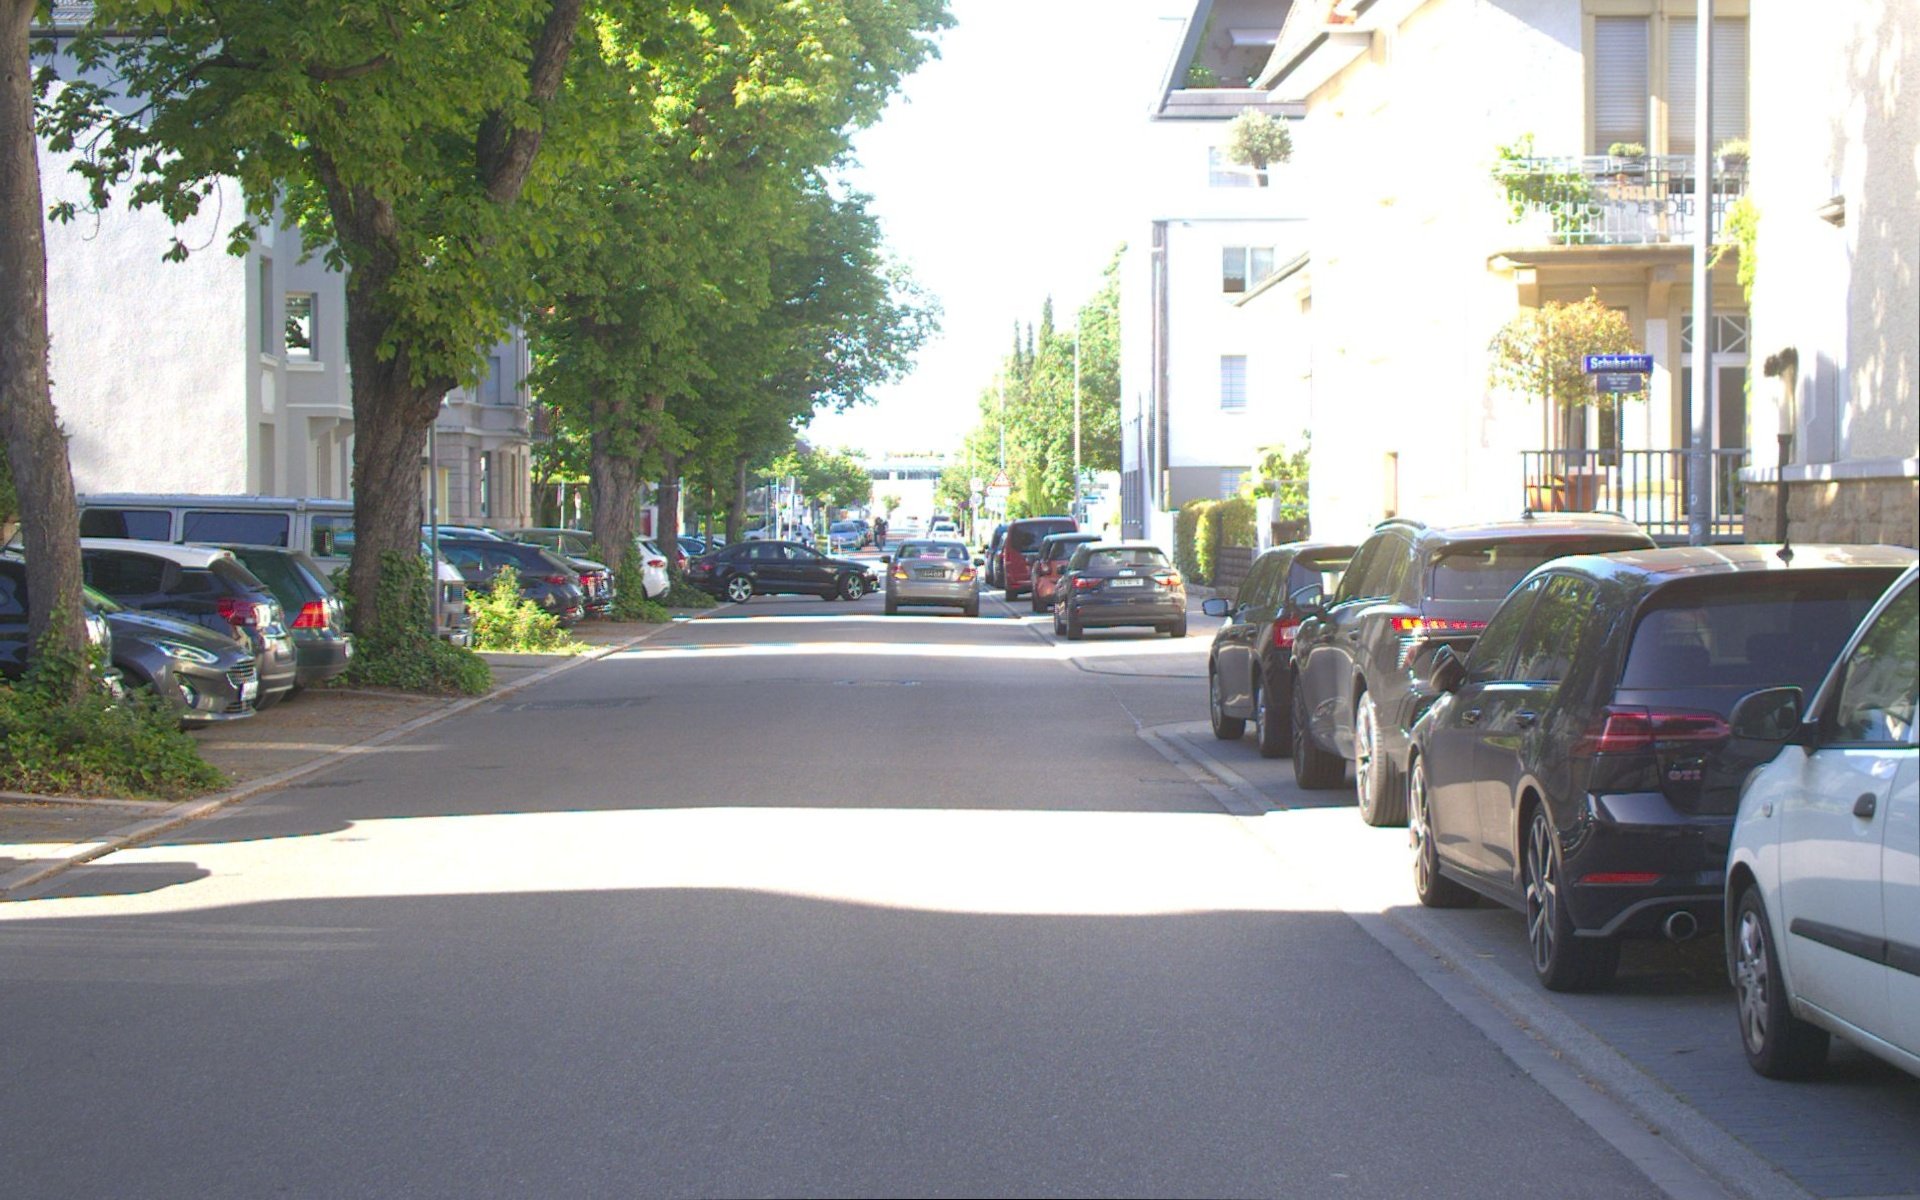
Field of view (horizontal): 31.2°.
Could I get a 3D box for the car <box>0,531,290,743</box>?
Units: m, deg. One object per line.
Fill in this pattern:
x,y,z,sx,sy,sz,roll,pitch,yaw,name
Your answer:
-6.960,0.228,25.362,3.644,1.458,1.710,1,1,1,car

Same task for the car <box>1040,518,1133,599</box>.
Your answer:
2.455,-0.826,67.161,1.592,1.475,3.247,-2,1,-1,car

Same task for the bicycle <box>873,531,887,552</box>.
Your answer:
-4.203,-3.083,180.475,0.719,1.075,1.891,0,1,0,bicycle

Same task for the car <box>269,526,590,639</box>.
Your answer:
-7.301,-0.259,47.651,4.186,1.493,1.861,0,1,-2,car

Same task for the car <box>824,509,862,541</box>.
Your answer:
-6.456,-4.113,189.024,1.872,1.722,4.001,-1,2,-5,car

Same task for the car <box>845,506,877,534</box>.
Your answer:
-6.132,-4.939,212.317,1.787,1.527,4.000,4,1,-1,car

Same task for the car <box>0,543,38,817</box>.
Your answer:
-7.123,0.395,17.906,4.187,1.436,1.713,1,1,-2,car

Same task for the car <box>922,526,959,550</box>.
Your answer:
-1.110,-3.477,191.463,1.722,1.325,4.001,-1,1,-5,car

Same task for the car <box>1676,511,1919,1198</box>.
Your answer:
2.919,0.551,8.269,1.575,1.544,3.469,-1,0,-1,car

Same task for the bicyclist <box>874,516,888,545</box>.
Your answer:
-4.149,-3.648,180.565,0.721,1.531,1.137,0,1,0,bicyclist

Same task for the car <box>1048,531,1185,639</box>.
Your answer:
2.277,-0.251,50.819,1.619,1.435,3.935,-3,2,-2,car

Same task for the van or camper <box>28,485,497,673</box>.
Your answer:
-7.192,-0.228,35.791,4.497,1.908,1.964,0,1,-1,van or camper

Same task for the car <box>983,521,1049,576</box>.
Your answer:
1.568,-1.465,96.747,1.737,1.526,4.179,0,1,-1,car

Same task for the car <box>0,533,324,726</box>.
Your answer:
-7.083,0.202,27.892,3.478,1.453,1.797,1,1,1,car

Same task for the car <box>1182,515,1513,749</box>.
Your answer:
2.709,0.201,24.872,1.662,1.515,4.002,-1,0,-4,car

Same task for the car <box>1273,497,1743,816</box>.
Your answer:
2.883,0.266,19.018,1.791,1.515,4.367,-1,0,-1,car

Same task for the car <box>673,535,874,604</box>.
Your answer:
-4.241,-0.691,78.131,4.187,1.443,1.713,2,0,-23,car

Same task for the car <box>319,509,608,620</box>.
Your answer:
-8.043,-0.591,55.950,4.386,1.646,1.823,-1,3,1,car

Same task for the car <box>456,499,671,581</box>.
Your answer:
-7.814,-1.192,67.963,4.022,1.479,1.807,2,1,-1,car

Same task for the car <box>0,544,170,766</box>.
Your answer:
-7.184,0.317,22.993,3.477,1.416,1.710,1,0,-5,car

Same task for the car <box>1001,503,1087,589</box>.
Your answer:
1.909,-1.238,79.880,1.871,1.898,5.197,-1,1,0,car

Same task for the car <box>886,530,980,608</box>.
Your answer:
-0.483,-0.616,65.230,1.726,1.415,3.960,0,1,0,car

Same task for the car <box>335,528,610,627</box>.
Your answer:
-7.457,-0.365,52.822,3.987,1.463,1.697,0,1,-1,car

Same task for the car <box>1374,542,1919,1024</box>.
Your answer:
2.688,0.538,12.621,1.709,1.431,4.193,-2,0,-1,car

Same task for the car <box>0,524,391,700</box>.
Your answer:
-7.137,0.084,30.516,3.921,1.410,1.716,1,2,-3,car

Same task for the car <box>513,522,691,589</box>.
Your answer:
-8.307,-1.051,80.034,3.986,1.416,1.771,1,2,-1,car
